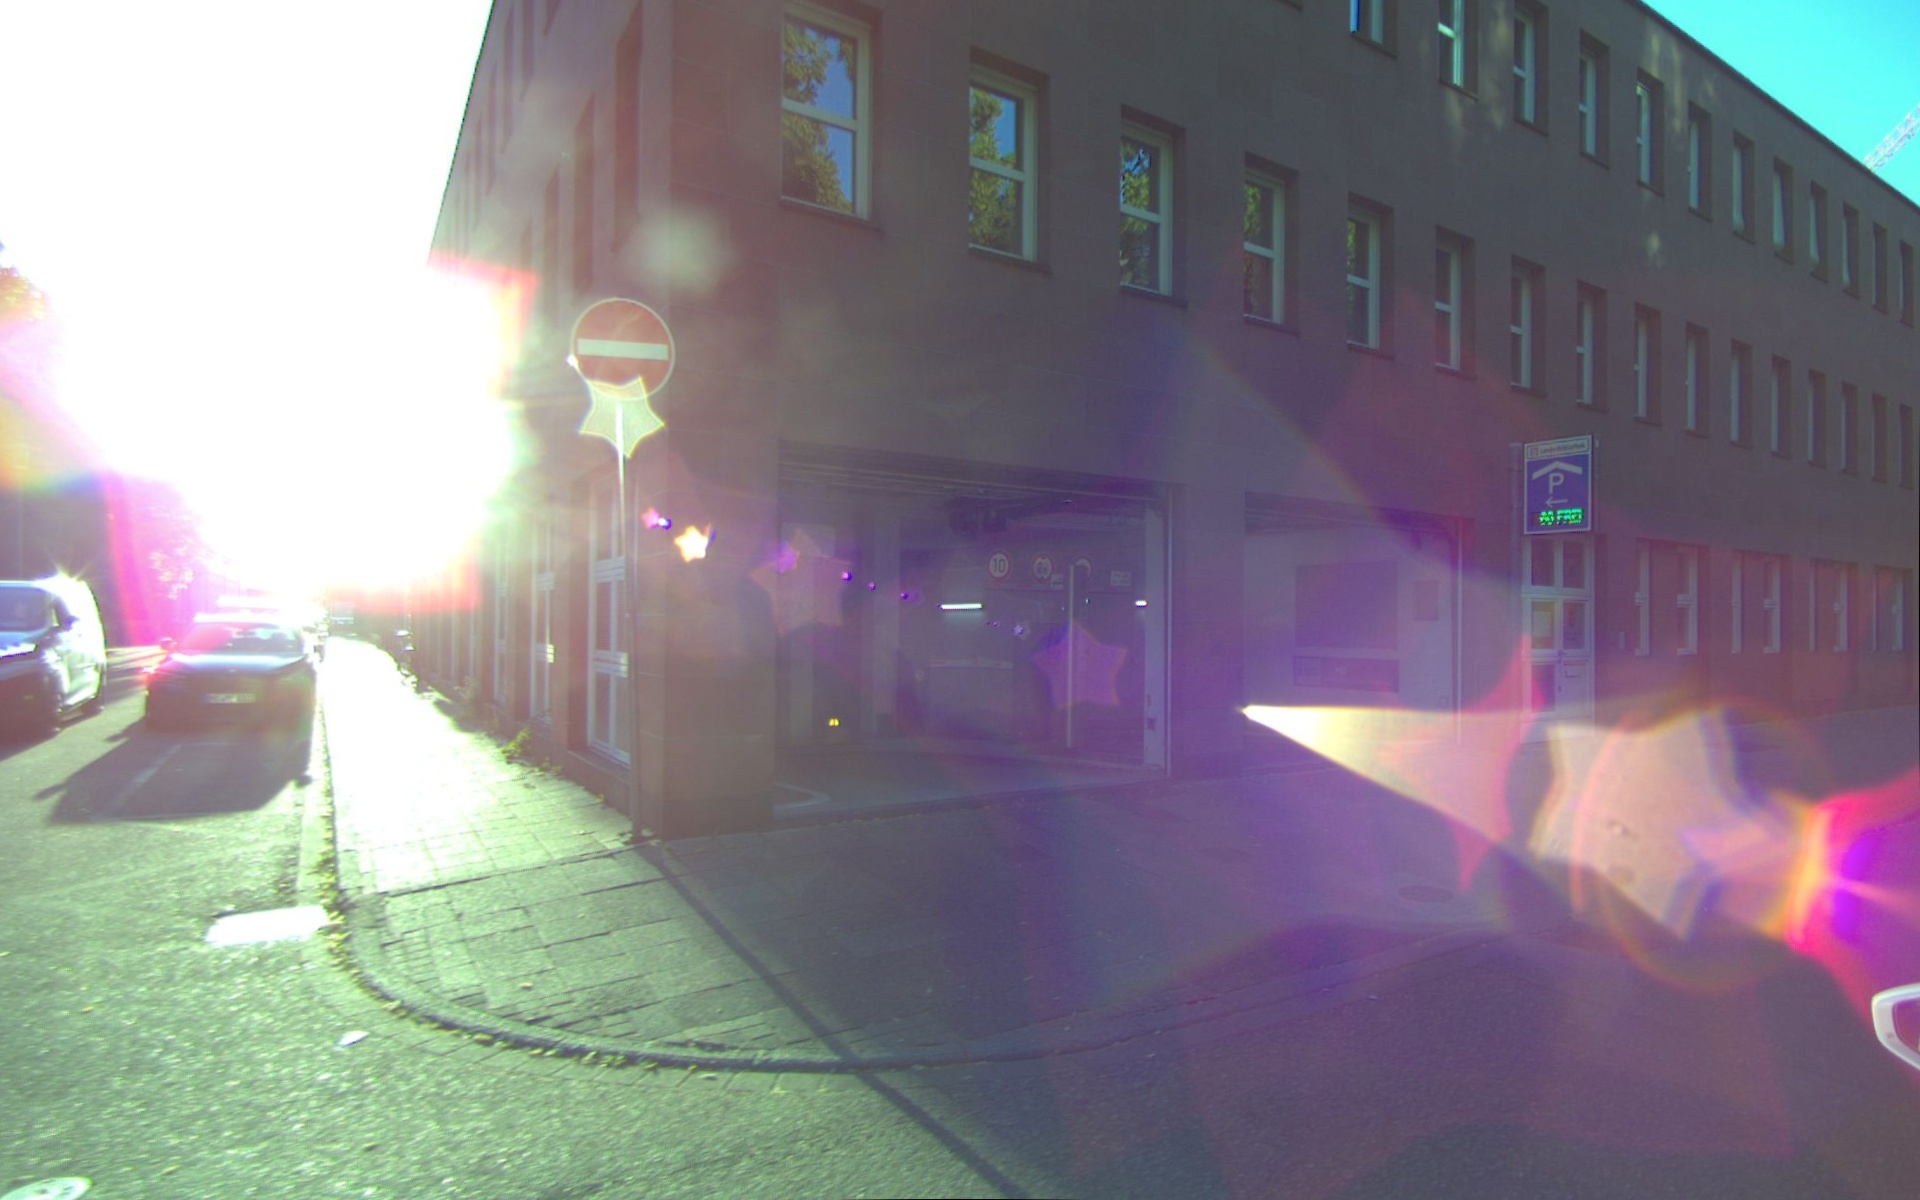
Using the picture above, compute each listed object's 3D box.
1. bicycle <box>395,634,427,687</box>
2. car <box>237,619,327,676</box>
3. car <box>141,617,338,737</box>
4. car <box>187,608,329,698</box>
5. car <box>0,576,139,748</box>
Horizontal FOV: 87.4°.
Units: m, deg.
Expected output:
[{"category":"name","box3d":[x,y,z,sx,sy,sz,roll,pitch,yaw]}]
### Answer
[{"category":"bicycle","box3d":[-12.391,1.330,22.658,0.492,1.078,1.859,1,0,-33]},{"category":"car","box3d":[-20.669,1.404,30.806,1.978,1.528,5.065,3,-2,-31]},{"category":"car","box3d":[-10.512,1.025,14.934,1.979,1.430,5.062,3,-2,-33]},{"category":"car","box3d":[-13.641,0.976,19.788,1.979,1.528,5.063,3,-2,-32]},{"category":"car","box3d":[-12.307,0.714,12.964,1.978,1.900,5.064,-1,0,-32]}]
